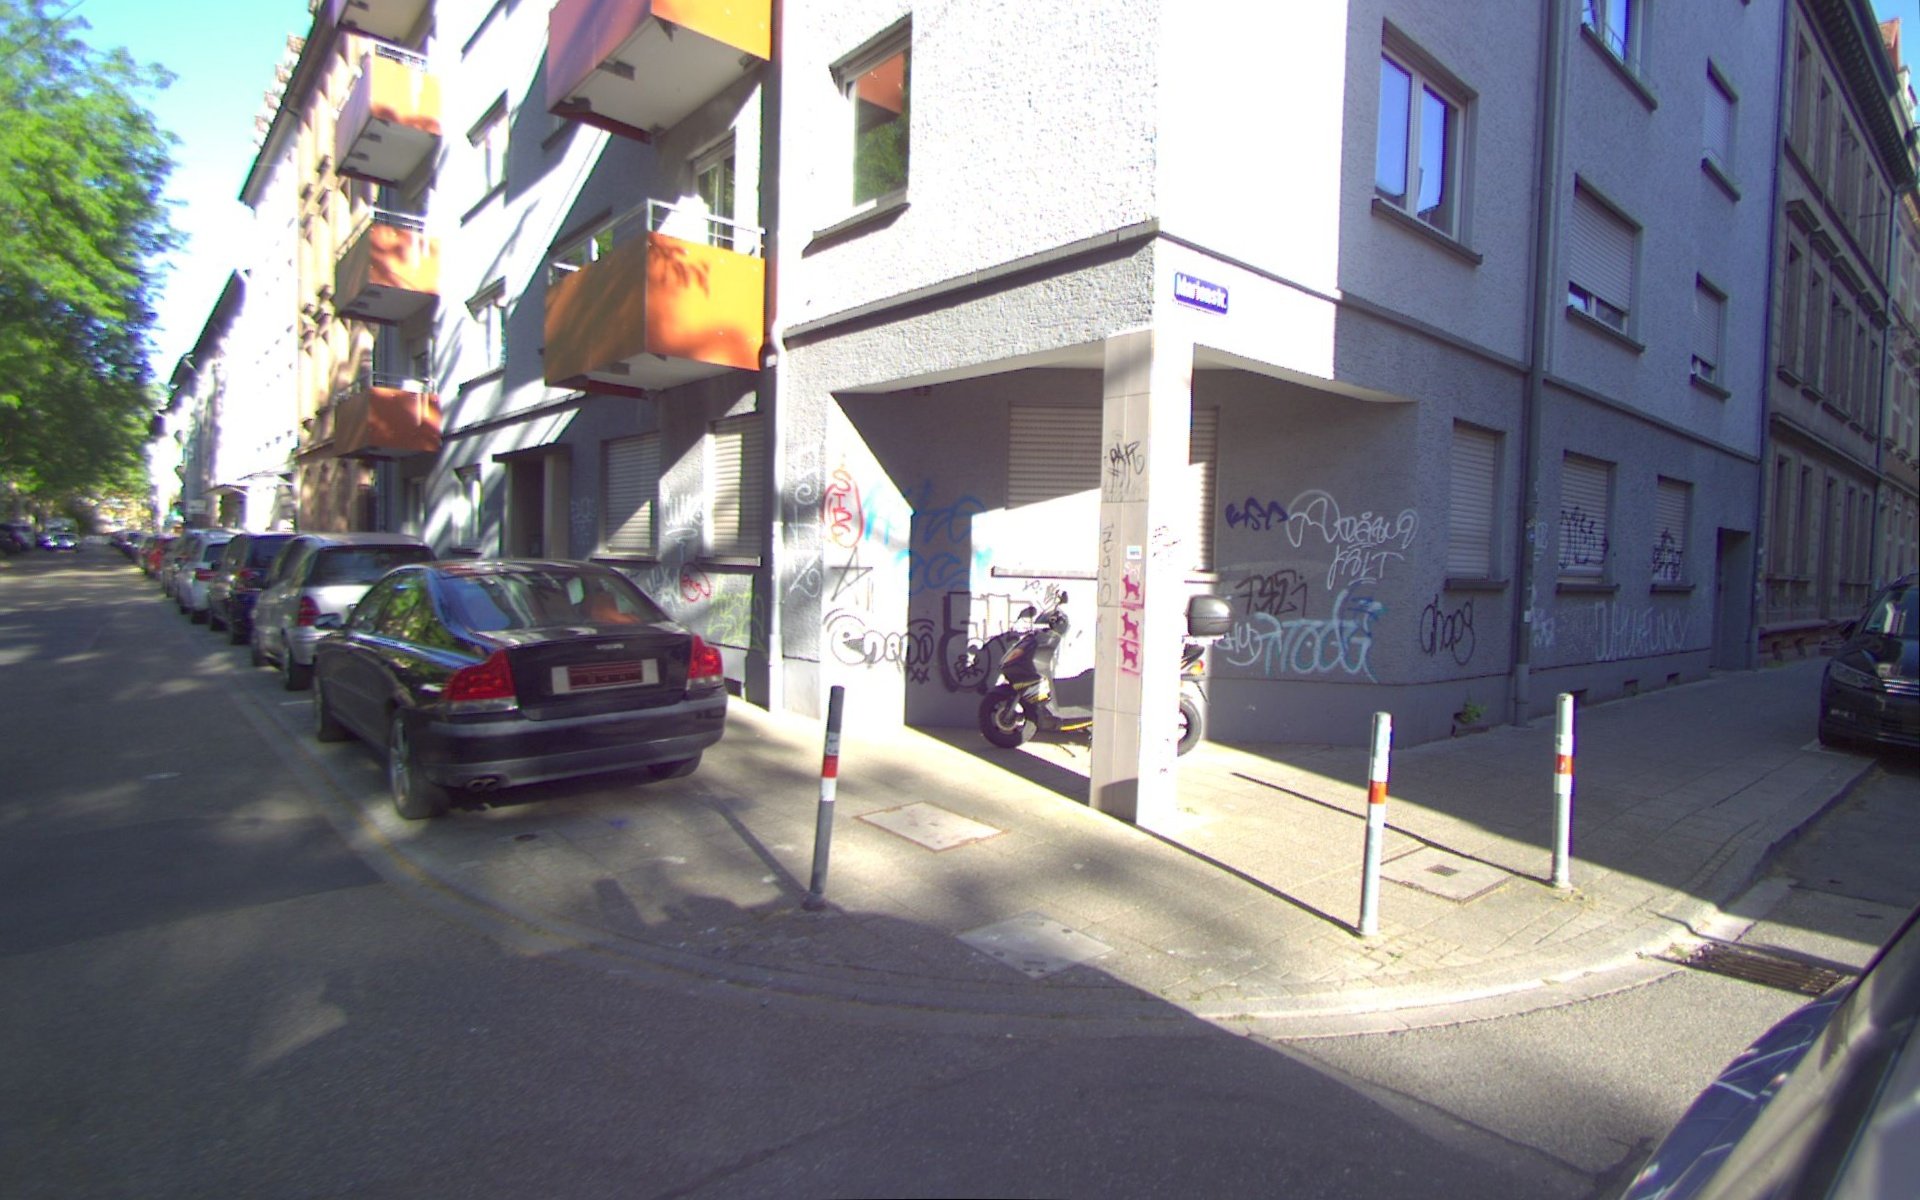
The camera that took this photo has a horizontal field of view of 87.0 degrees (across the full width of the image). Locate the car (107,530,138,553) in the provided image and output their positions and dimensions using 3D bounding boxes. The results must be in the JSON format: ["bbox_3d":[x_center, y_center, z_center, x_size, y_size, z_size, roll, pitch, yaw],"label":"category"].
[{"bbox_3d":[-67.126,-4.679,81.099,1.797,1.745,4.043,-1,3,-41],"label":"car"}]

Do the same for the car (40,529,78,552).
[{"bbox_3d":[-69.201,-4.566,77.775,1.964,1.649,4.510,0,3,-39],"label":"car"}]

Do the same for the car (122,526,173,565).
[{"bbox_3d":[-39.046,-2.628,48.616,1.797,1.815,3.995,-1,3,-41],"label":"car"}]

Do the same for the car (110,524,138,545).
[{"bbox_3d":[-71.625,-5.606,86.706,1.797,1.745,4.043,-1,3,-41],"label":"car"}]

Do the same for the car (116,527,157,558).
[{"bbox_3d":[-49.583,-3.461,60.918,1.797,1.745,4.043,-1,3,-41],"label":"car"}]

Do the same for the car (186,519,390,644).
[{"bbox_3d":[-10.646,-0.389,15.930,1.968,1.681,3.992,-5,6,-43],"label":"car"}]

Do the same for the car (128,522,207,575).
[{"bbox_3d":[-29.415,-1.929,37.500,1.966,1.829,4.512,-1,3,-42],"label":"car"}]

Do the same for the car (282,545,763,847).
[{"bbox_3d":[-3.302,0.359,7.075,1.818,1.405,4.356,-1,4,-42],"label":"car"}]

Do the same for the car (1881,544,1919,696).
[{"bbox_3d":[13.667,0.297,13.250,4.641,1.807,1.758,0,5,-41],"label":"car"}]

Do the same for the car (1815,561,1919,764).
[{"bbox_3d":[9.743,0.503,9.559,4.315,1.660,1.904,-1,3,-42],"label":"car"}]

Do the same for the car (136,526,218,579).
[{"bbox_3d":[-26.228,-1.597,33.840,1.965,1.638,3.995,0,3,-41],"label":"car"}]

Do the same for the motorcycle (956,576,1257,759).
[{"bbox_3d":[1.061,0.462,7.600,2.120,1.242,0.743,0,4,7],"label":"motorcycle"}]

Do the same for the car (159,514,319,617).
[{"bbox_3d":[-13.835,-0.681,19.331,1.967,1.749,3.992,0,2,-43],"label":"car"}]

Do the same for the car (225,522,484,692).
[{"bbox_3d":[-7.217,-0.069,11.888,1.839,1.637,3.993,-4,5,-42],"label":"car"}]

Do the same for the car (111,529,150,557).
[{"bbox_3d":[-52.912,-3.652,64.540,1.797,1.745,4.043,-1,3,-41],"label":"car"}]

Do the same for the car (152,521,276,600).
[{"bbox_3d":[-18.033,-0.965,24.395,1.967,1.718,3.992,0,3,-43],"label":"car"}]

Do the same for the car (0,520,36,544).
[{"bbox_3d":[-70.399,-4.996,73.752,4.434,1.649,1.998,-1,3,-41],"label":"car"}]

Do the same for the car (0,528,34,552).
[{"bbox_3d":[-68.911,-4.322,71.946,4.434,1.649,1.998,-1,3,-41],"label":"car"}]

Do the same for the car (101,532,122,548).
[{"bbox_3d":[-96.882,-6.879,115.508,1.797,1.745,4.043,-1,3,-41],"label":"car"}]
